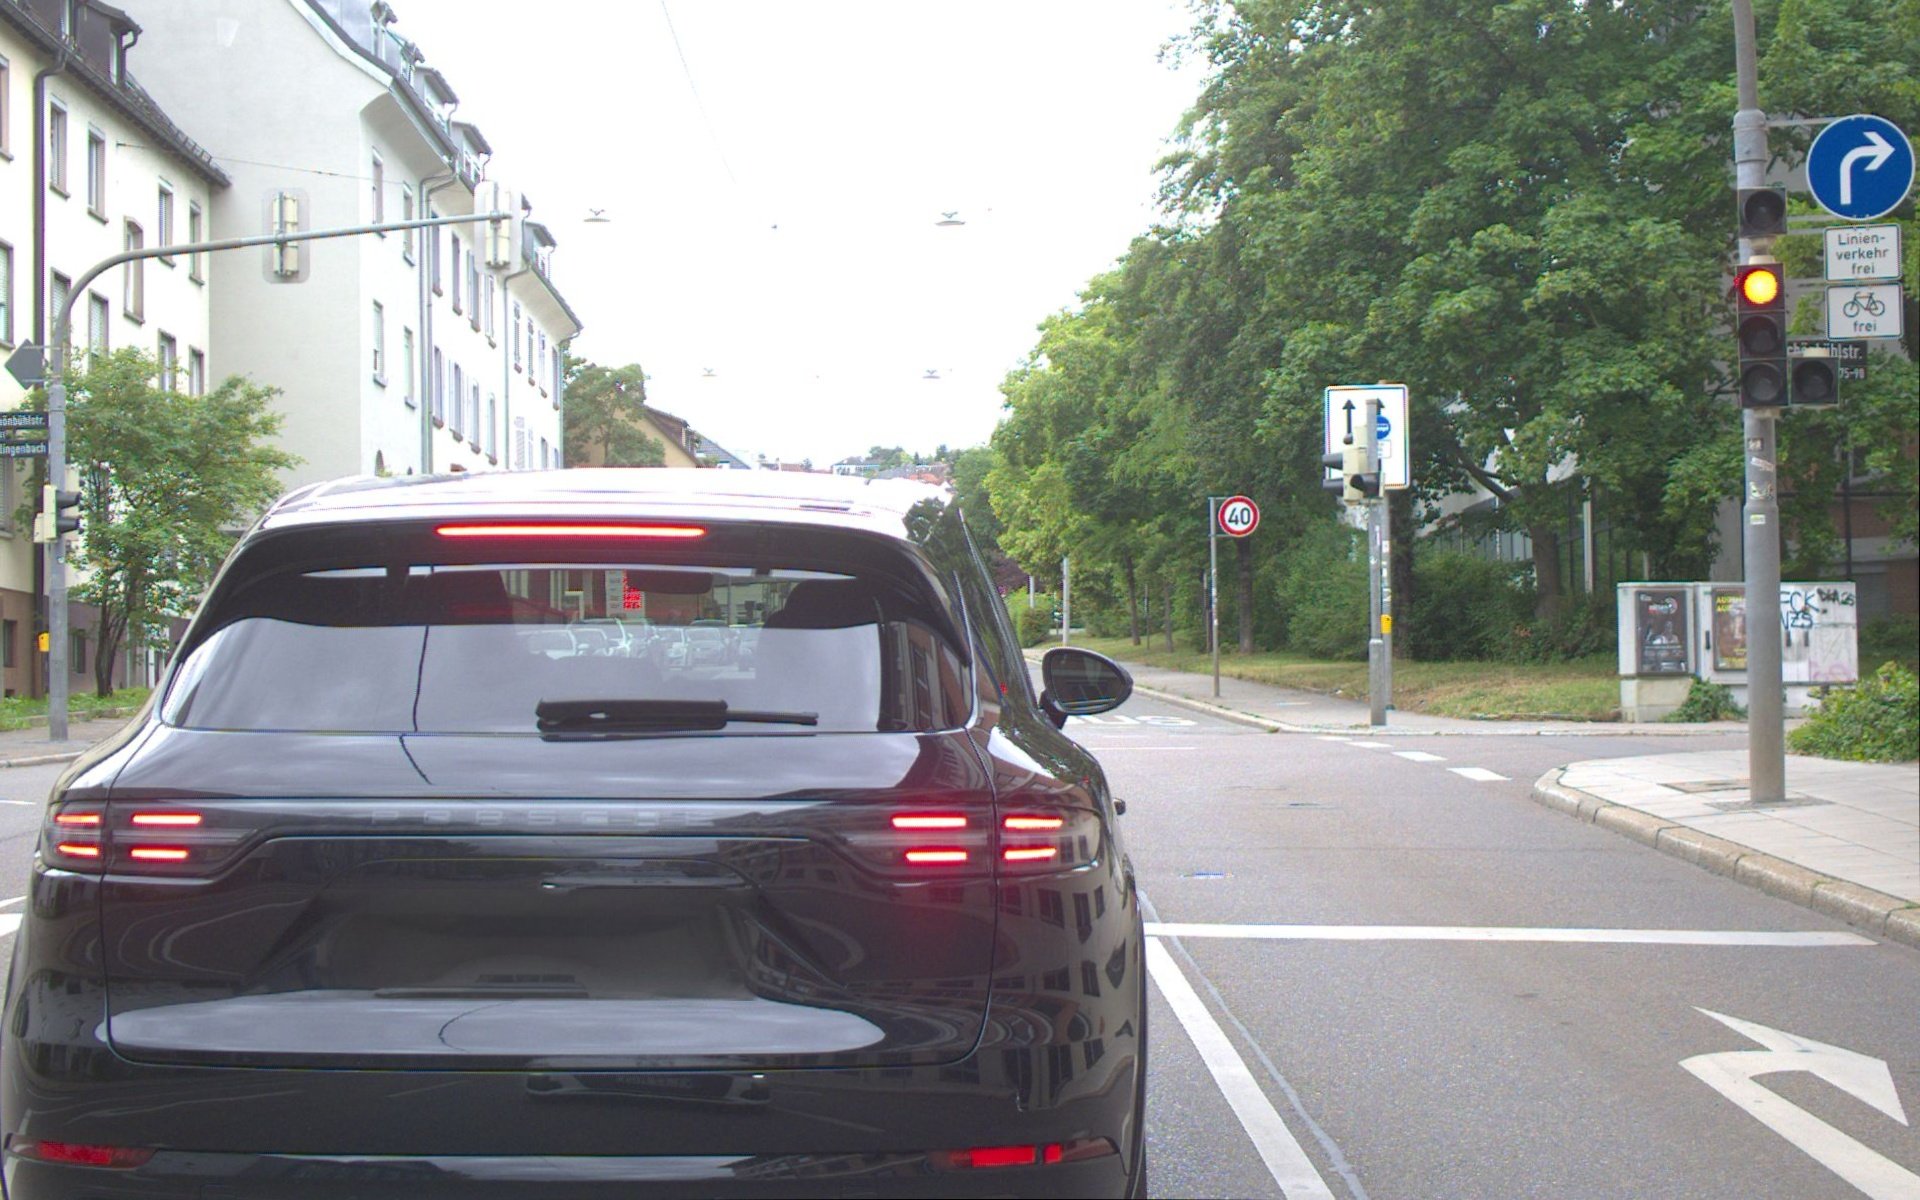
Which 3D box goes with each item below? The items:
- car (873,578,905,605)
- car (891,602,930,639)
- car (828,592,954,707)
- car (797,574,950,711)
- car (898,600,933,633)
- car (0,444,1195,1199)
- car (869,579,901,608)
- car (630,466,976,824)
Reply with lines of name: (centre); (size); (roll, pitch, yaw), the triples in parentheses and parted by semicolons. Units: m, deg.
car: (-4.328, -0.538, 210.271); (1.827, 1.599, 4.135); (1, 1, 0)
car: (-2.337, 0.966, 163.310); (1.827, 1.599, 4.135); (1, 1, 0)
car: (-1.032, 0.724, 52.540); (1.827, 1.599, 3.859); (1, 1, 0)
car: (-1.060, 0.500, 43.822); (1.827, 1.599, 4.135); (1, 1, 0)
car: (-2.339, 0.856, 182.486); (1.827, 1.599, 4.135); (1, 1, 0)
car: (-0.701, 0.574, 7.250); (2.048, 1.660, 4.267); (1, 1, 0)
car: (-4.429, -0.385, 202.946); (1.827, 1.599, 4.135); (1, 1, 0)
car: (-0.917, 0.225, 21.897); (1.965, 2.035, 4.135); (1, 1, 0)
